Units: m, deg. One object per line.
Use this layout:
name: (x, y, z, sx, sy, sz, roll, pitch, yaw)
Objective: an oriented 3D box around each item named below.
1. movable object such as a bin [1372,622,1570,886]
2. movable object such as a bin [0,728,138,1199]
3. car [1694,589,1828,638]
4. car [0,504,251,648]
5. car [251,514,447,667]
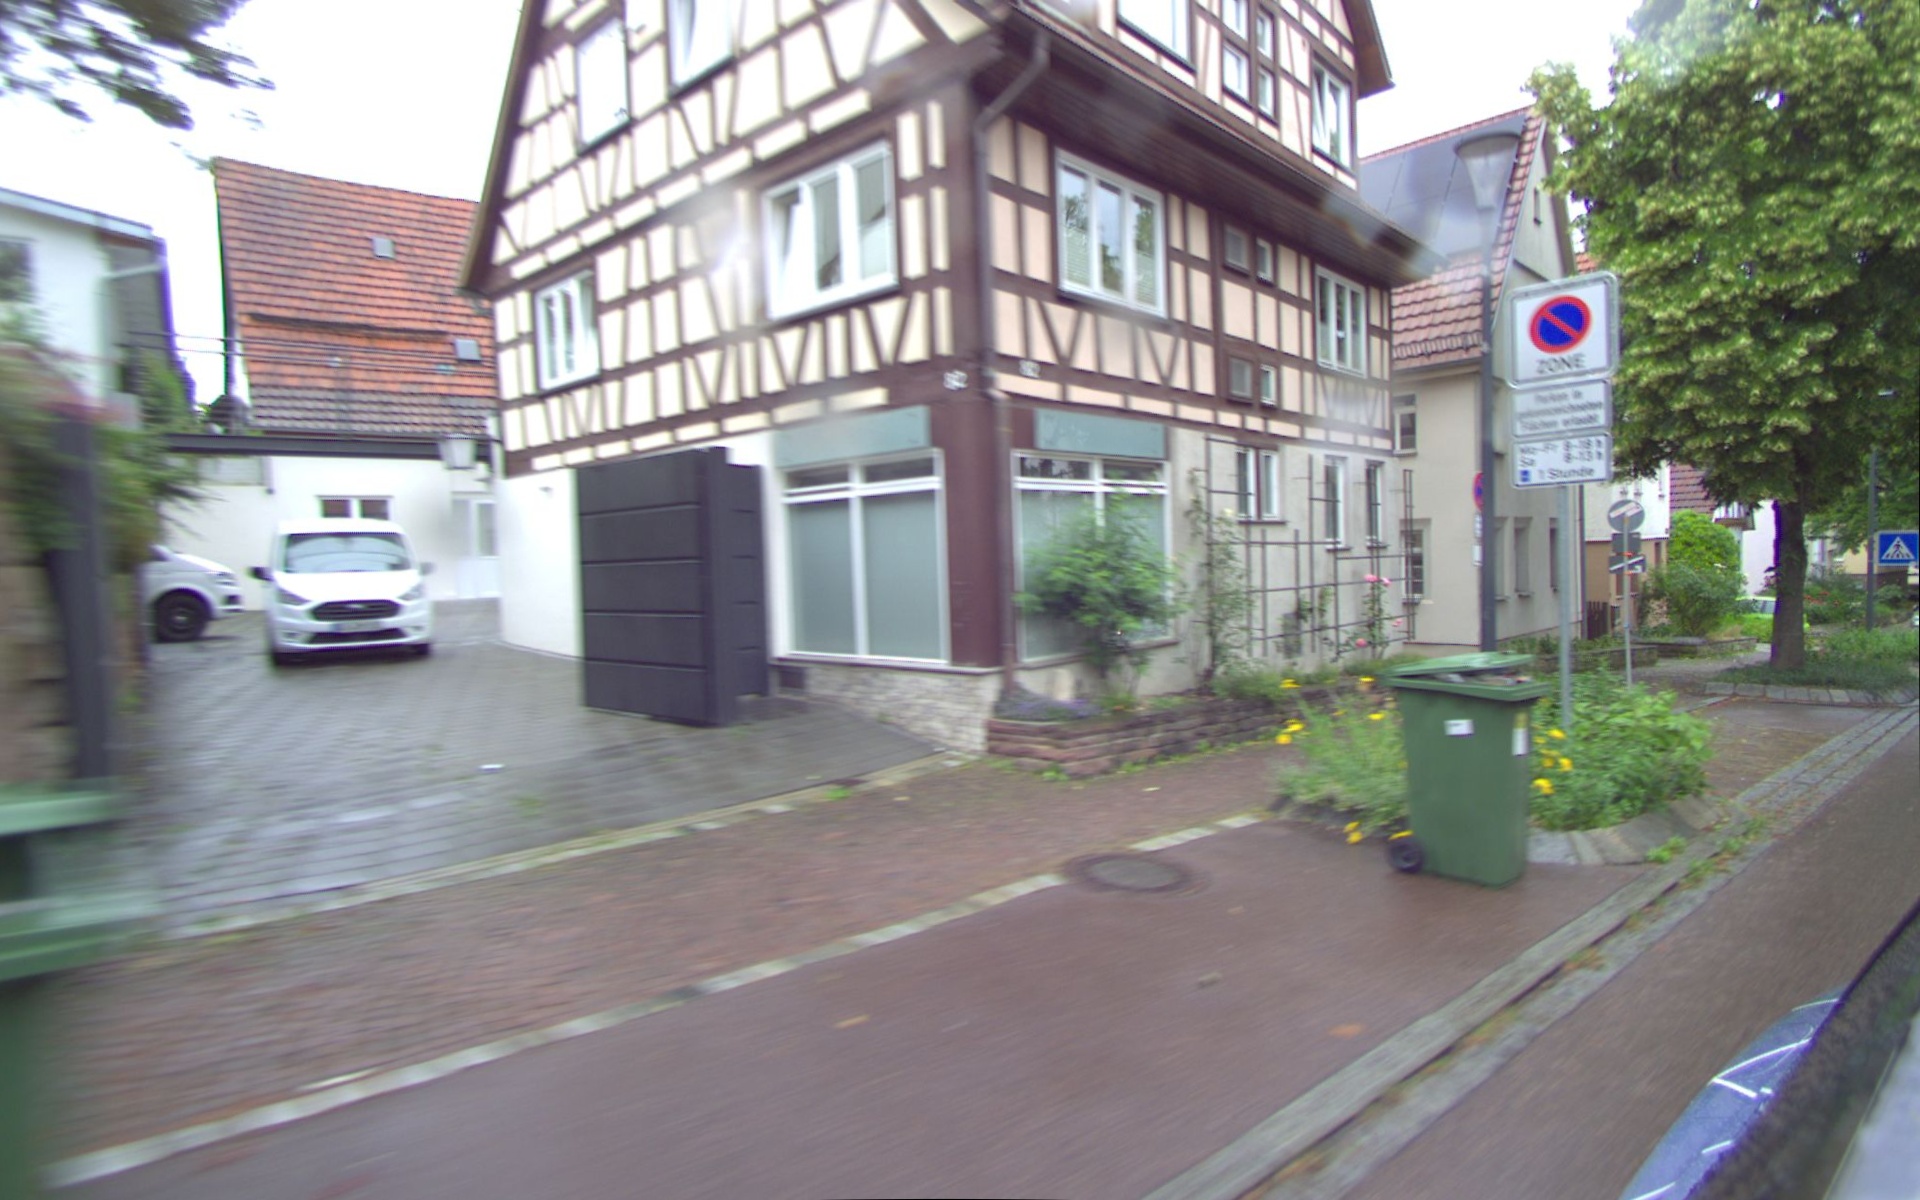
movable object such as a bin: (2.695, 0.749, 5.346, 0.714, 1.228, 0.722, 0, 0, -41)
movable object such as a bin: (-1.630, 0.828, 1.419, 0.692, 1.157, 0.724, 0, 0, -44)
car: (27.122, 0.419, 34.307, 1.604, 1.448, 3.368, 0, 3, -44)
car: (-13.262, -0.383, 15.273, 1.833, 1.993, 3.938, 3, 3, 43)
car: (-8.291, -0.266, 13.573, 1.805, 1.736, 4.000, -3, 5, -37)
